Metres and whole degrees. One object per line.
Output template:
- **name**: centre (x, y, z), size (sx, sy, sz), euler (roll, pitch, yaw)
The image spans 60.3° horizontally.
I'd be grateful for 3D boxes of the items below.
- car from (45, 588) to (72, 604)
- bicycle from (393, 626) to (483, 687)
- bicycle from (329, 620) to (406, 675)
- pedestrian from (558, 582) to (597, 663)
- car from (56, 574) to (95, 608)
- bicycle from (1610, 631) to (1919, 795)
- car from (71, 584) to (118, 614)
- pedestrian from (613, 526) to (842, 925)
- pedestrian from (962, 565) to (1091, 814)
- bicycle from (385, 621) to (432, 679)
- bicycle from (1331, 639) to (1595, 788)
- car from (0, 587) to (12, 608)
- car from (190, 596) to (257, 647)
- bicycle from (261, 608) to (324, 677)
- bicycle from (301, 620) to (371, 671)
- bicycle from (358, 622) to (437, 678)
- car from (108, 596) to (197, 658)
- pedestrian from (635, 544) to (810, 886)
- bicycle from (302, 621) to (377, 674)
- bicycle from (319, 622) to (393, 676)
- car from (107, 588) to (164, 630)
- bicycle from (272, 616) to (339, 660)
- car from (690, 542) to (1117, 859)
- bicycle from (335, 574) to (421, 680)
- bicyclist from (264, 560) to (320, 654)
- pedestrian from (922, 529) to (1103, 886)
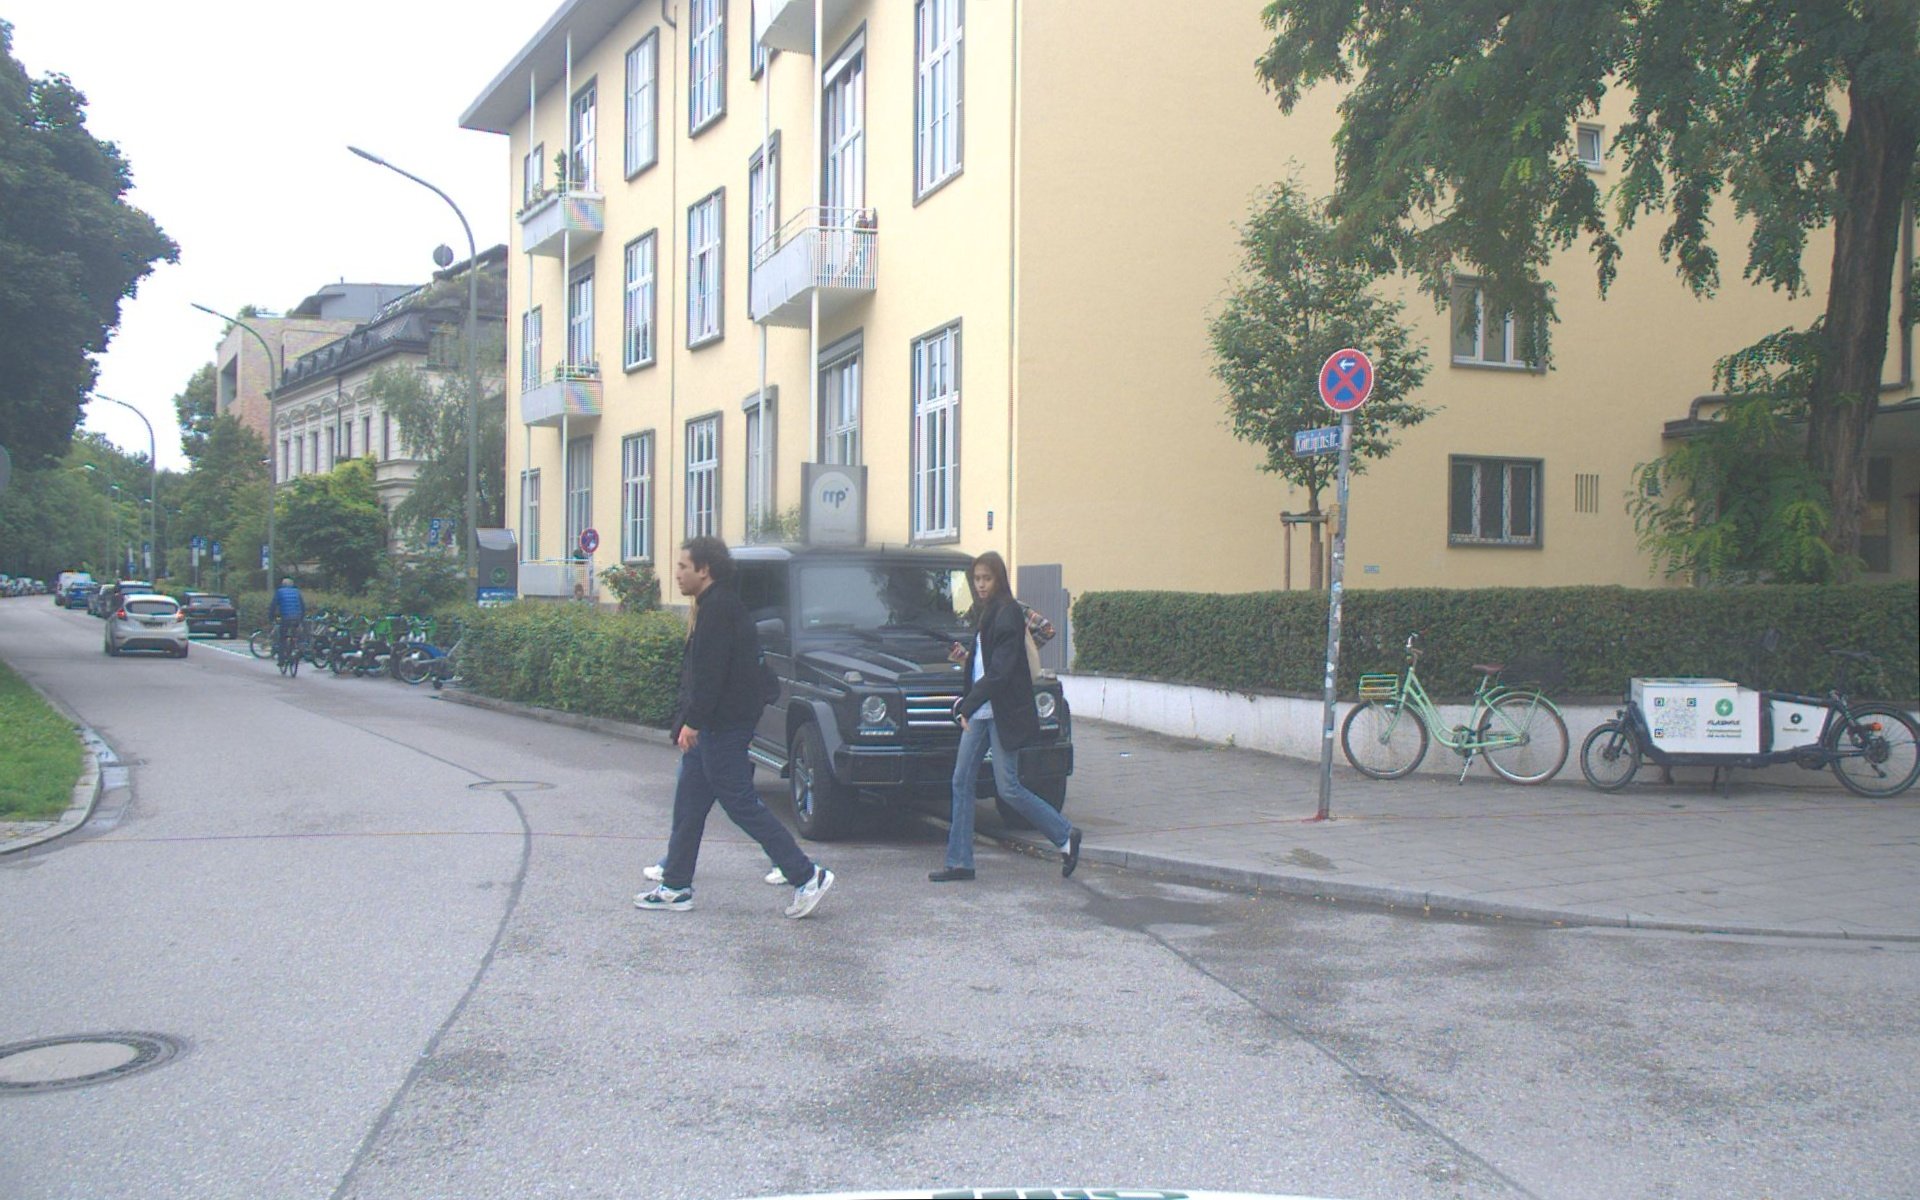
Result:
- **car**: centre (-92.753, -0.438, 170.207), size (1.967, 1.628, 4.435), euler (0, 0, -23)
- **bicycle**: centre (-9.456, 1.018, 29.995), size (1.519, 1.032, 0.363), euler (-1, 1, -34)
- **bicycle**: centre (-11.923, 0.943, 33.328), size (0.401, 1.032, 1.534), euler (-1, 1, 32)
- **pedestrian**: centre (-8.164, 0.474, 35.305), size (0.624, 1.713, 0.691), euler (-1, 0, -28)
- **car**: centre (-53.728, -0.557, 100.423), size (2.043, 2.000, 4.929), euler (0, 0, -29)
- **bicycle**: centre (5.944, 0.807, 12.099), size (2.121, 1.135, 0.641), euler (0, 0, 8)
- **car**: centre (-48.555, -0.072, 92.725), size (1.975, 1.628, 4.206), euler (0, 0, -33)
- **pedestrian**: centre (-1.102, 0.578, 7.999), size (0.969, 1.841, 0.660), euler (0, 0, 5)
- **pedestrian**: centre (0.483, 0.640, 12.421), size (0.832, 1.788, 0.952), euler (-1, 0, -6)
- **bicycle**: centre (-10.517, 0.947, 31.597), size (0.358, 1.032, 1.538), euler (-1, 1, 0)
- **bicycle**: centre (3.948, 0.876, 13.071), size (1.910, 1.104, 0.527), euler (-2, -2, 35)
- **car**: centre (-75.624, -0.186, 129.814), size (1.970, 1.628, 4.427), euler (0, 0, -28)
- **car**: centre (-23.950, 0.682, 53.735), size (1.629, 1.585, 3.523), euler (0, 0, -30)
- **bicycle**: centre (-13.003, 0.803, 32.172), size (0.910, 1.274, 2.300), euler (0, 0, -28)
- **bicycle**: centre (-13.434, 0.961, 35.643), size (0.400, 1.032, 1.535), euler (-1, 1, 28)
- **bicycle**: centre (-11.081, 0.966, 32.594), size (0.360, 1.032, 1.531), euler (-1, 1, 37)
- **car**: centre (-19.736, 0.614, 40.346), size (1.729, 1.431, 3.690), euler (0, 0, -30)
- **pedestrian**: centre (-1.267, 0.594, 8.960), size (0.809, 1.776, 0.741), euler (0, 0, 3)
- **bicycle**: centre (-12.726, 0.966, 33.958), size (0.400, 1.032, 1.535), euler (-1, 1, 28)
- **bicycle**: centre (-12.300, 0.990, 33.709), size (0.400, 1.032, 1.535), euler (-1, 1, 28)
- **car**: centre (-34.930, 0.343, 70.021), size (1.776, 1.709, 3.954), euler (0, 0, -33)
- **bicycle**: centre (-16.284, 0.948, 41.168), size (0.402, 1.032, 1.529), euler (0, 1, 41)
- **car**: centre (-0.662, 0.592, 12.507), size (1.847, 1.920, 4.589), euler (0, 0, -21)
- **bicycle**: centre (-11.523, 0.513, 32.810), size (0.447, 2.049, 1.673), euler (-1, 1, 32)
- **bicyclist**: centre (-13.057, 0.134, 32.298), size (0.904, 1.795, 1.204), euler (0, 0, -28)
- **pedestrian**: centre (0.278, 0.569, 9.257), size (0.835, 1.890, 0.764), euler (-1, 0, -11)
